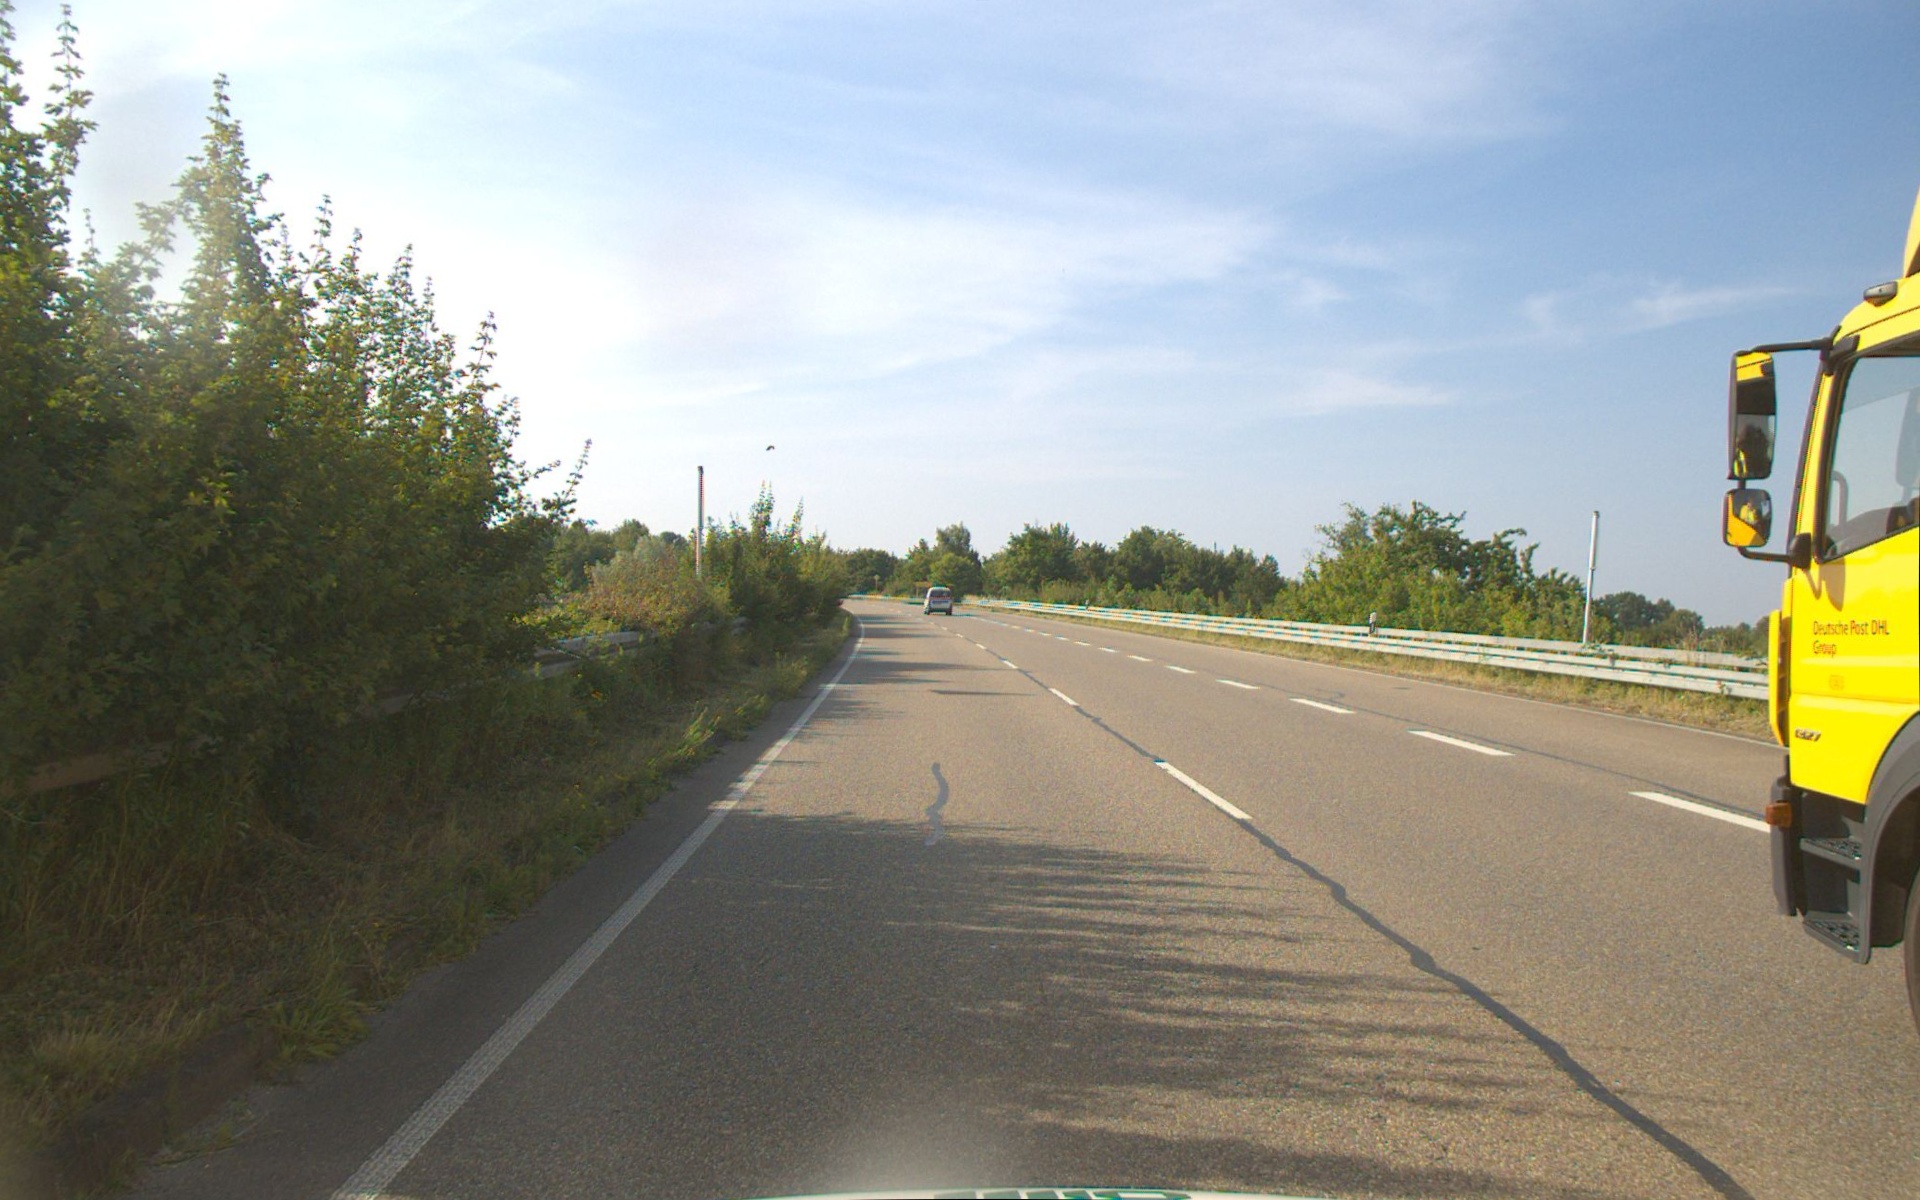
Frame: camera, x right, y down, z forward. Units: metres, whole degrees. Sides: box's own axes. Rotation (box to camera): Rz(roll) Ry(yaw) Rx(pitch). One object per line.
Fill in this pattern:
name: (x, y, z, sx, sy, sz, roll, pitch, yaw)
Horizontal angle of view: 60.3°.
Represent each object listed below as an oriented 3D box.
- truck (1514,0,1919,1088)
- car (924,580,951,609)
truck: (4.231, -0.224, 2.935, 2.722, 3.374, 10.487, 1, 0, -1)
car: (-1.523, -0.371, 110.739, 1.730, 1.915, 3.999, 1, 0, -1)
